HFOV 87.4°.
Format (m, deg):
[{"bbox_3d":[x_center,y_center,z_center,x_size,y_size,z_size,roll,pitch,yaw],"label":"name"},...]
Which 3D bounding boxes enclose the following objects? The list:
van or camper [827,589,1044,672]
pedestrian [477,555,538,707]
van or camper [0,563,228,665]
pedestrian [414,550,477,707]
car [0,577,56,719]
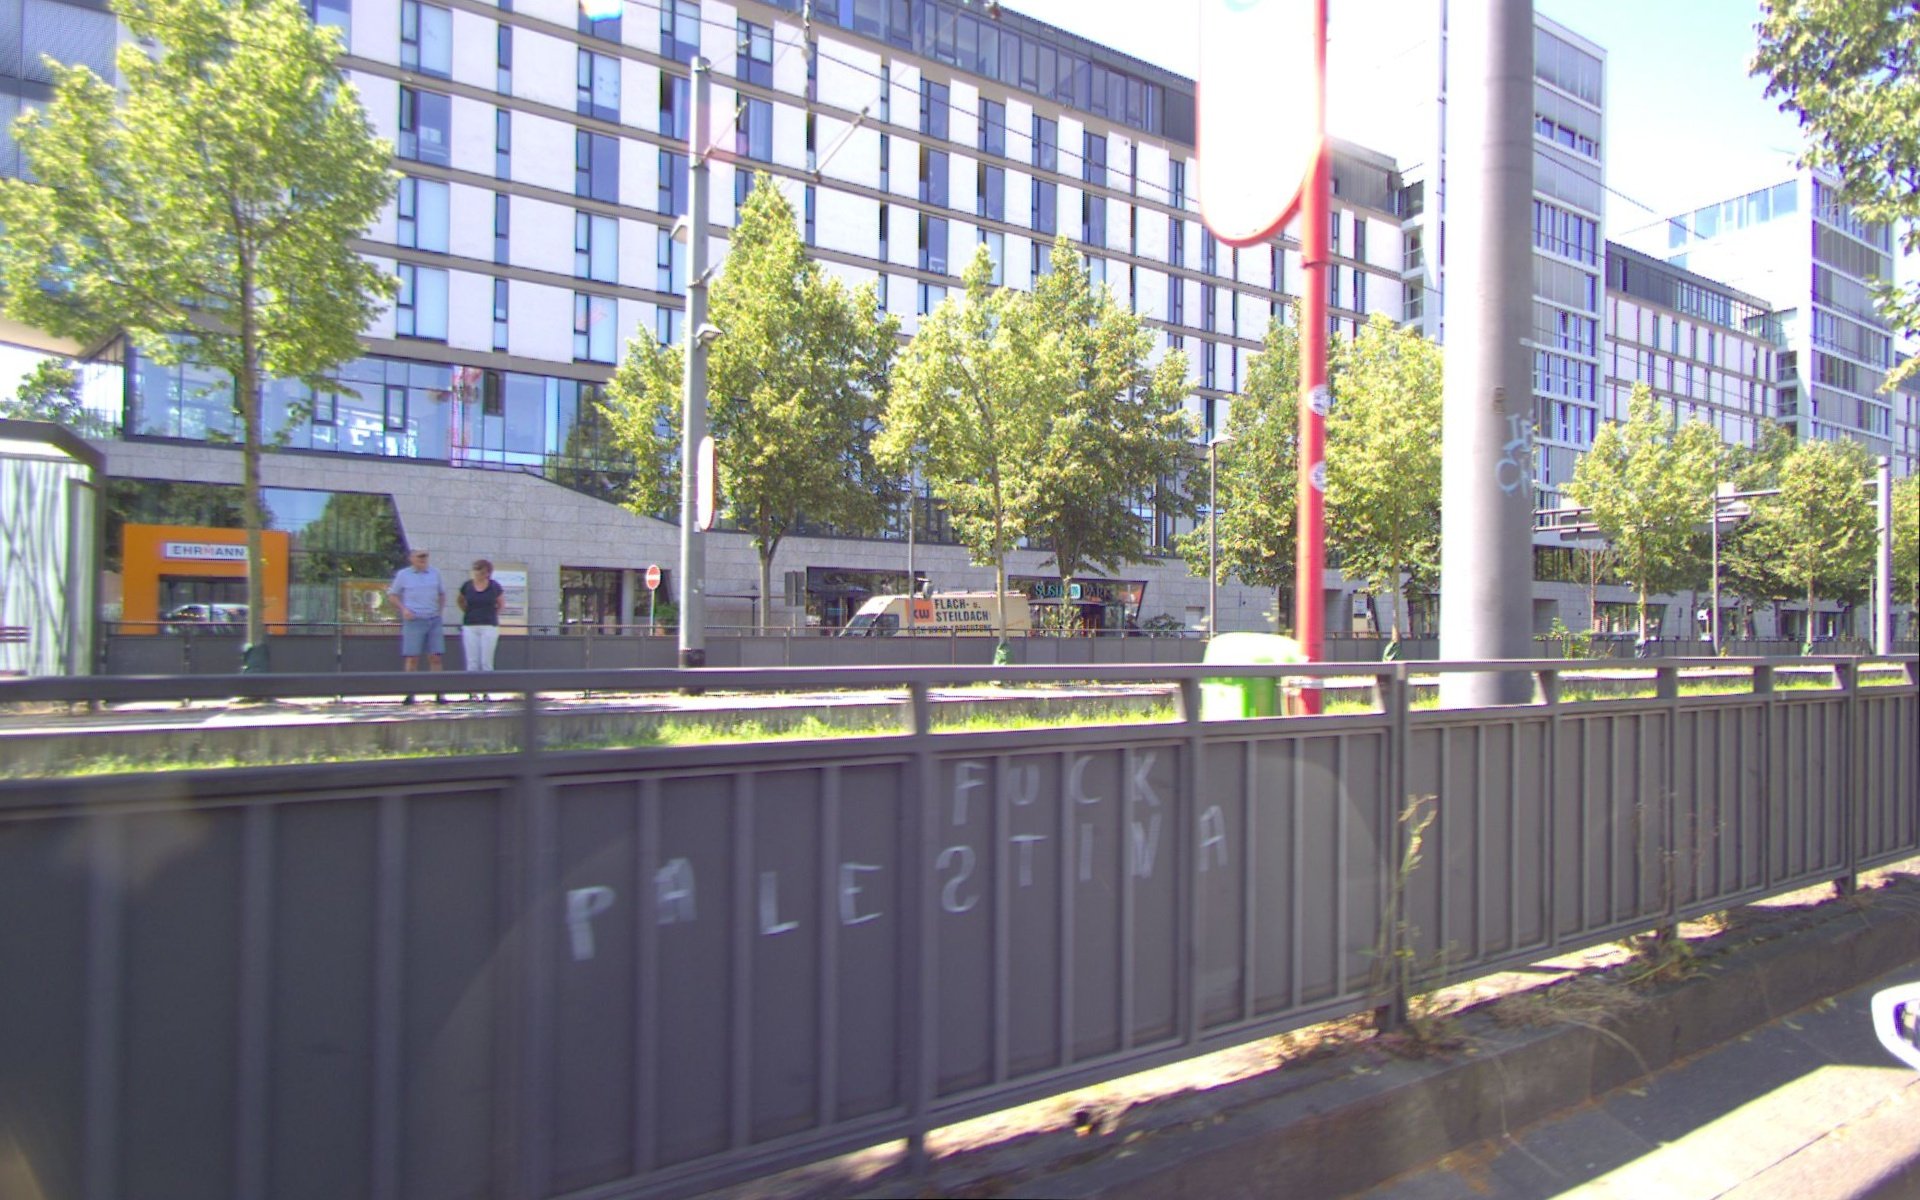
[{"bbox_3d":[-0.702,0.985,31.910,6.693,2.417,2.167,2,-1,-30],"label":"van or camper"},{"bbox_3d":[-5.410,0.369,12.014,0.580,1.775,0.407,2,-1,-33],"label":"pedestrian"},{"bbox_3d":[-26.238,0.466,30.091,6.714,2.859,2.362,2,-2,-33],"label":"van or camper"},{"bbox_3d":[-5.992,0.336,11.694,0.580,1.775,0.407,2,-1,-33],"label":"pedestrian"},{"bbox_3d":[-15.082,0.567,12.685,5.014,1.830,2.449,2,-2,-32],"label":"car"}]
